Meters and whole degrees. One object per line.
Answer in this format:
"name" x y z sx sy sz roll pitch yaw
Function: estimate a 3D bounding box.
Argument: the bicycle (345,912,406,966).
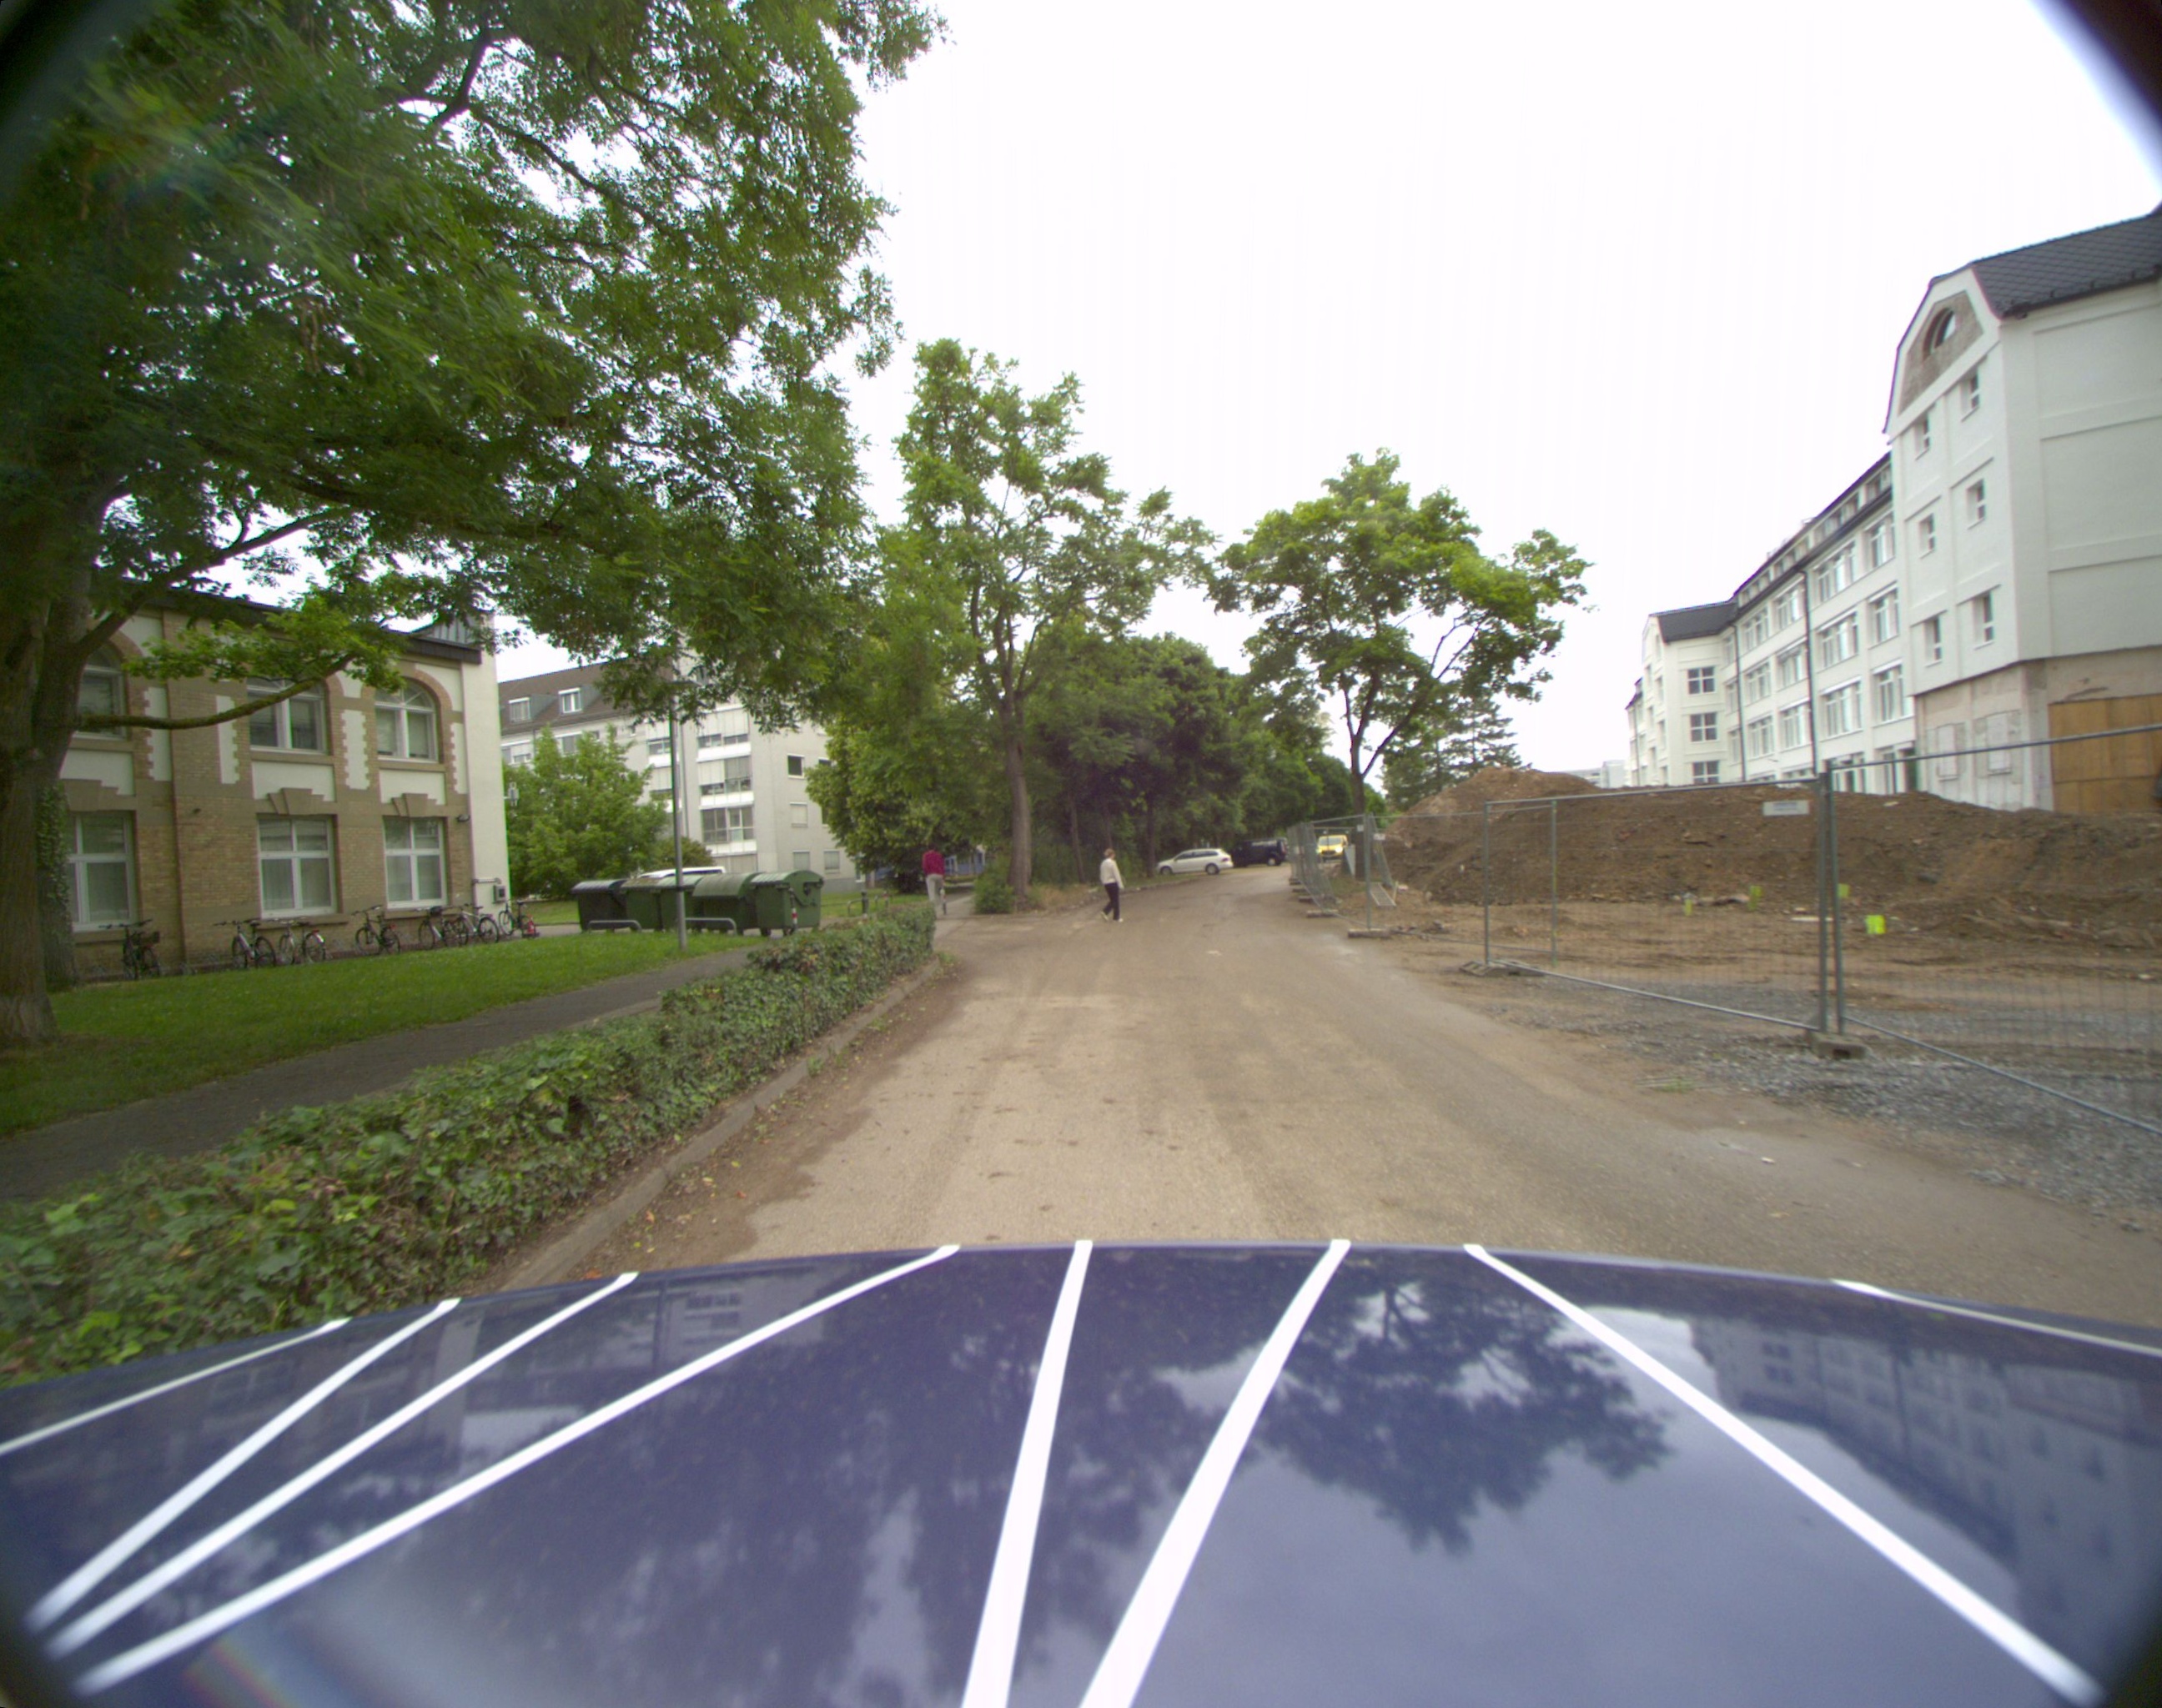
"bicycle" -15.663 1.865 16.861 1.740 1.108 0.461 -3 0 30

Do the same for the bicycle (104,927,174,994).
"bicycle" -17.258 1.923 13.912 1.740 1.108 0.461 -2 1 29

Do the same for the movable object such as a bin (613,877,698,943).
"movable object such as a bin" -10.167 1.335 18.178 1.324 1.442 1.110 -3 1 21

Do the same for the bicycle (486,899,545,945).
"bicycle" -14.550 1.738 19.529 1.740 1.108 0.461 -3 0 28

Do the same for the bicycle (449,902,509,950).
"bicycle" -14.878 1.768 18.764 1.740 1.108 0.461 -3 0 29

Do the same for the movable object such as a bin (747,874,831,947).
"movable object such as a bin" -6.217 1.181 16.194 1.272 1.426 1.074 -2 1 36

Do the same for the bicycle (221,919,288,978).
"bicycle" -16.622 1.885 15.277 1.740 1.108 0.461 -3 0 29

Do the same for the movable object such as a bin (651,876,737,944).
"movable object such as a bin" -8.907 1.282 17.519 1.292 1.442 1.110 -3 1 22

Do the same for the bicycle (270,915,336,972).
"bicycle" -16.301 1.866 15.912 1.740 1.108 0.461 -3 0 29

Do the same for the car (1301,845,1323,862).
"car" 24.205 -0.095 79.432 1.996 1.586 4.005 -3 0 19

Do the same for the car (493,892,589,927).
"car" -33.080 3.352 46.709 1.996 1.724 4.347 -3 0 21

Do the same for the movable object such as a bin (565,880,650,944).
"movable object such as a bin" -11.650 1.415 18.731 1.360 1.442 1.110 -3 1 21

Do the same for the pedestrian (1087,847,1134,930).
"pedestrian" 0.662 0.762 17.089 0.752 1.771 0.662 -3 1 -24

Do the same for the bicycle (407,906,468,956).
"bicycle" -15.286 1.818 18.040 1.740 1.108 0.461 -3 0 29

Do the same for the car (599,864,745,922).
"car" -16.233 1.503 30.468 1.897 1.862 4.781 -5 -1 28

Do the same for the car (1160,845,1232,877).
"car" 6.619 0.401 43.656 3.879 1.565 1.754 -3 1 15

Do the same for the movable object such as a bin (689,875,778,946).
"movable object such as a bin" -7.623 1.229 16.696 1.283 1.442 1.110 -3 1 22

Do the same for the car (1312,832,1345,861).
"car" 18.433 -0.580 56.411 2.121 2.002 4.005 -3 0 20

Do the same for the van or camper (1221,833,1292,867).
"van or camper" 12.647 -0.269 54.793 4.490 2.245 2.003 -3 1 27

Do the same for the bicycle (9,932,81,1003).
"bicycle" -17.719 1.908 12.984 1.740 1.108 0.461 -3 0 29

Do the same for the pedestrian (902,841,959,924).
"pedestrian" -3.836 0.704 19.445 0.793 2.052 1.203 -3 1 23
